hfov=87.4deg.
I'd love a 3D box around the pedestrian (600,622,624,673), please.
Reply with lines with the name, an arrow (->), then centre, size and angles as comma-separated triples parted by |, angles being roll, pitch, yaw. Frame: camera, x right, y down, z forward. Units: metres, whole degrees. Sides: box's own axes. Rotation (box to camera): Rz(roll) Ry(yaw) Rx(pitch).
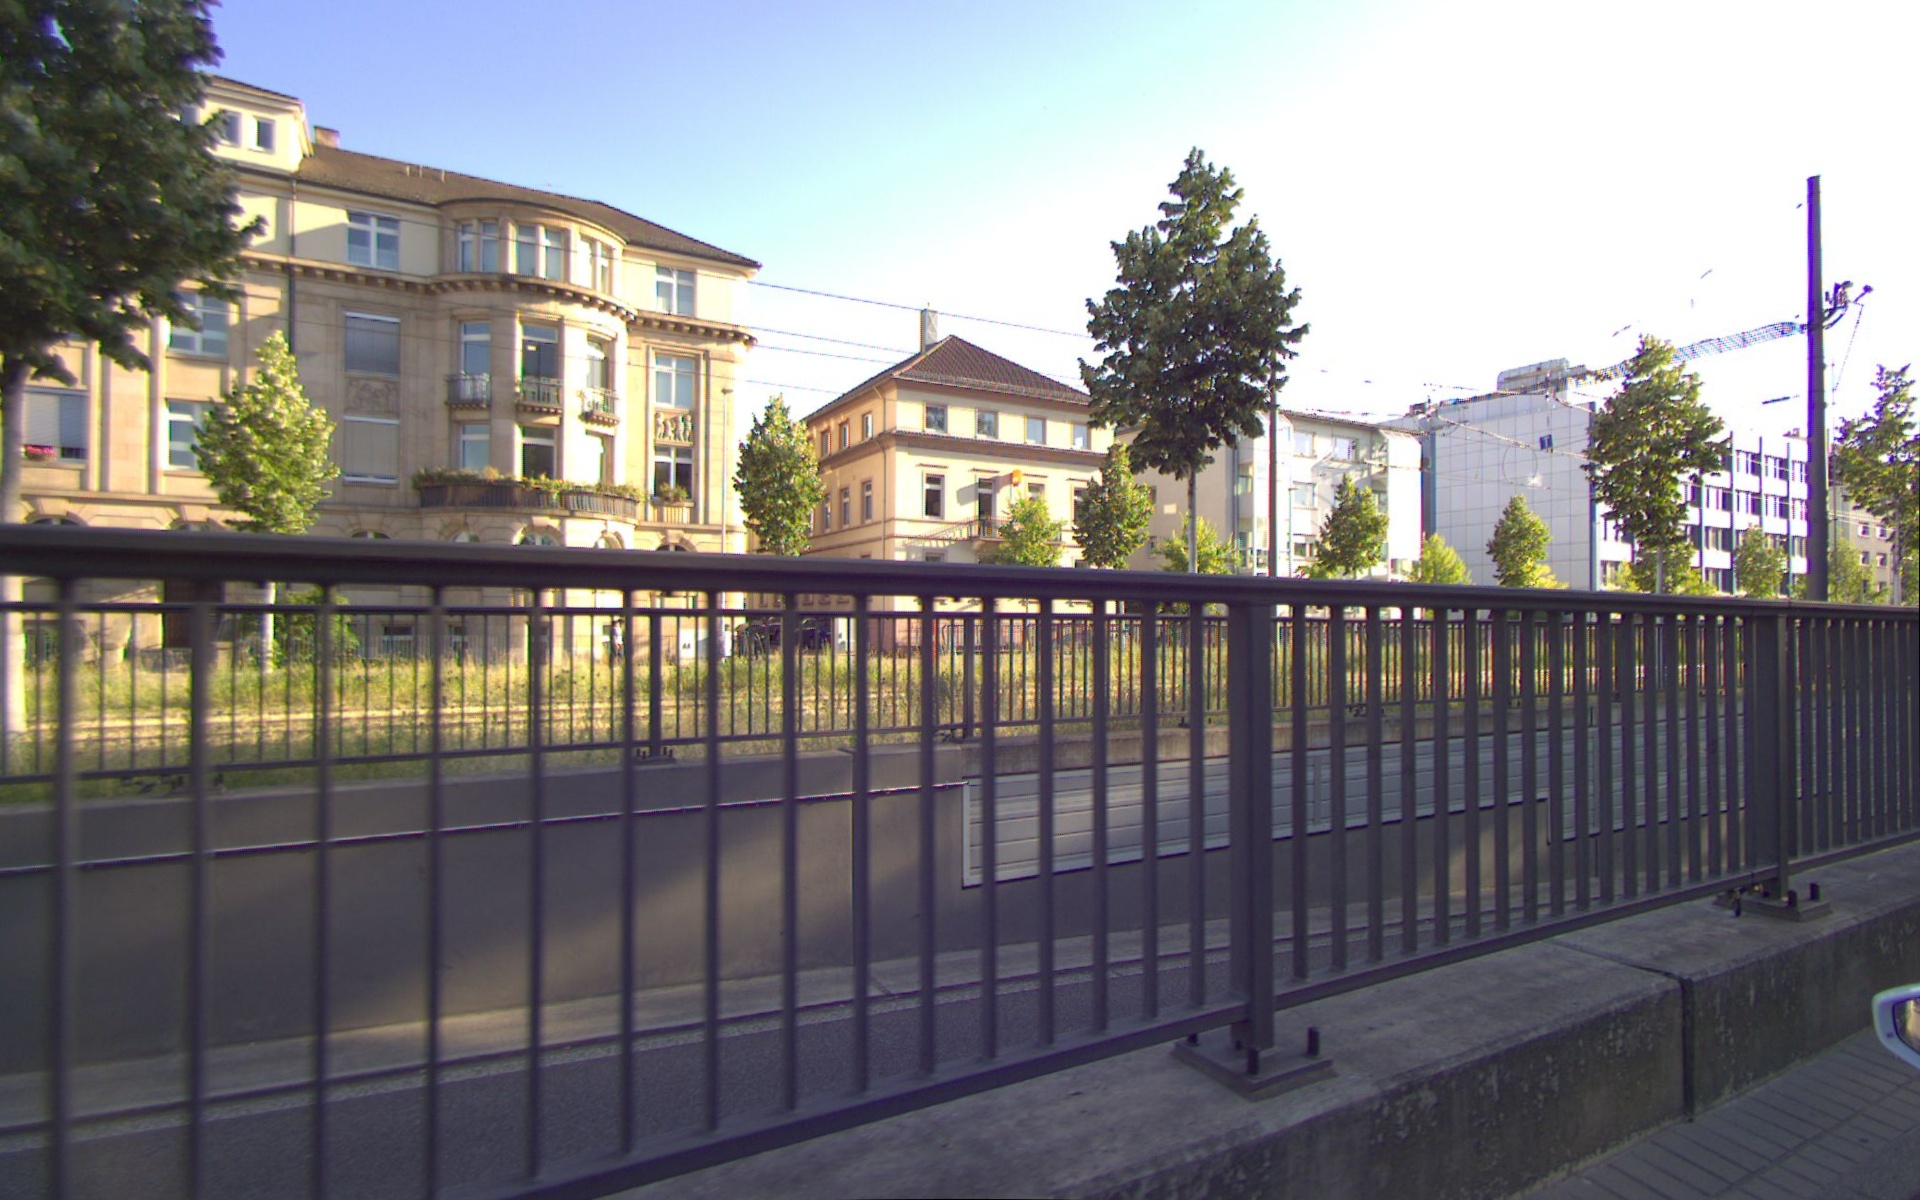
pedestrian -> -12.078, 1.643, 34.867 | 0.645, 1.743, 0.653 | 1, -1, -30

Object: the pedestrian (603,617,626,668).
pedestrian -> -11.762, 1.439, 34.176 | 0.645, 1.743, 0.553 | 1, -1, -30

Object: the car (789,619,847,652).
car -> -7.219, 1.784, 50.823 | 1.661, 1.488, 3.971 | 2, 0, -28

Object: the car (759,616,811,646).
car -> -9.714, 1.693, 55.504 | 1.661, 1.488, 3.971 | 2, 0, -28

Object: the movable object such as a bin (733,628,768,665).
movable object such as a bin -> -8.386, 1.848, 40.131 | 1.067, 1.448, 1.200 | 0, -1, -30

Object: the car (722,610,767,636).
car -> -13.363, 1.402, 62.164 | 1.661, 1.488, 3.971 | 2, 0, -28
